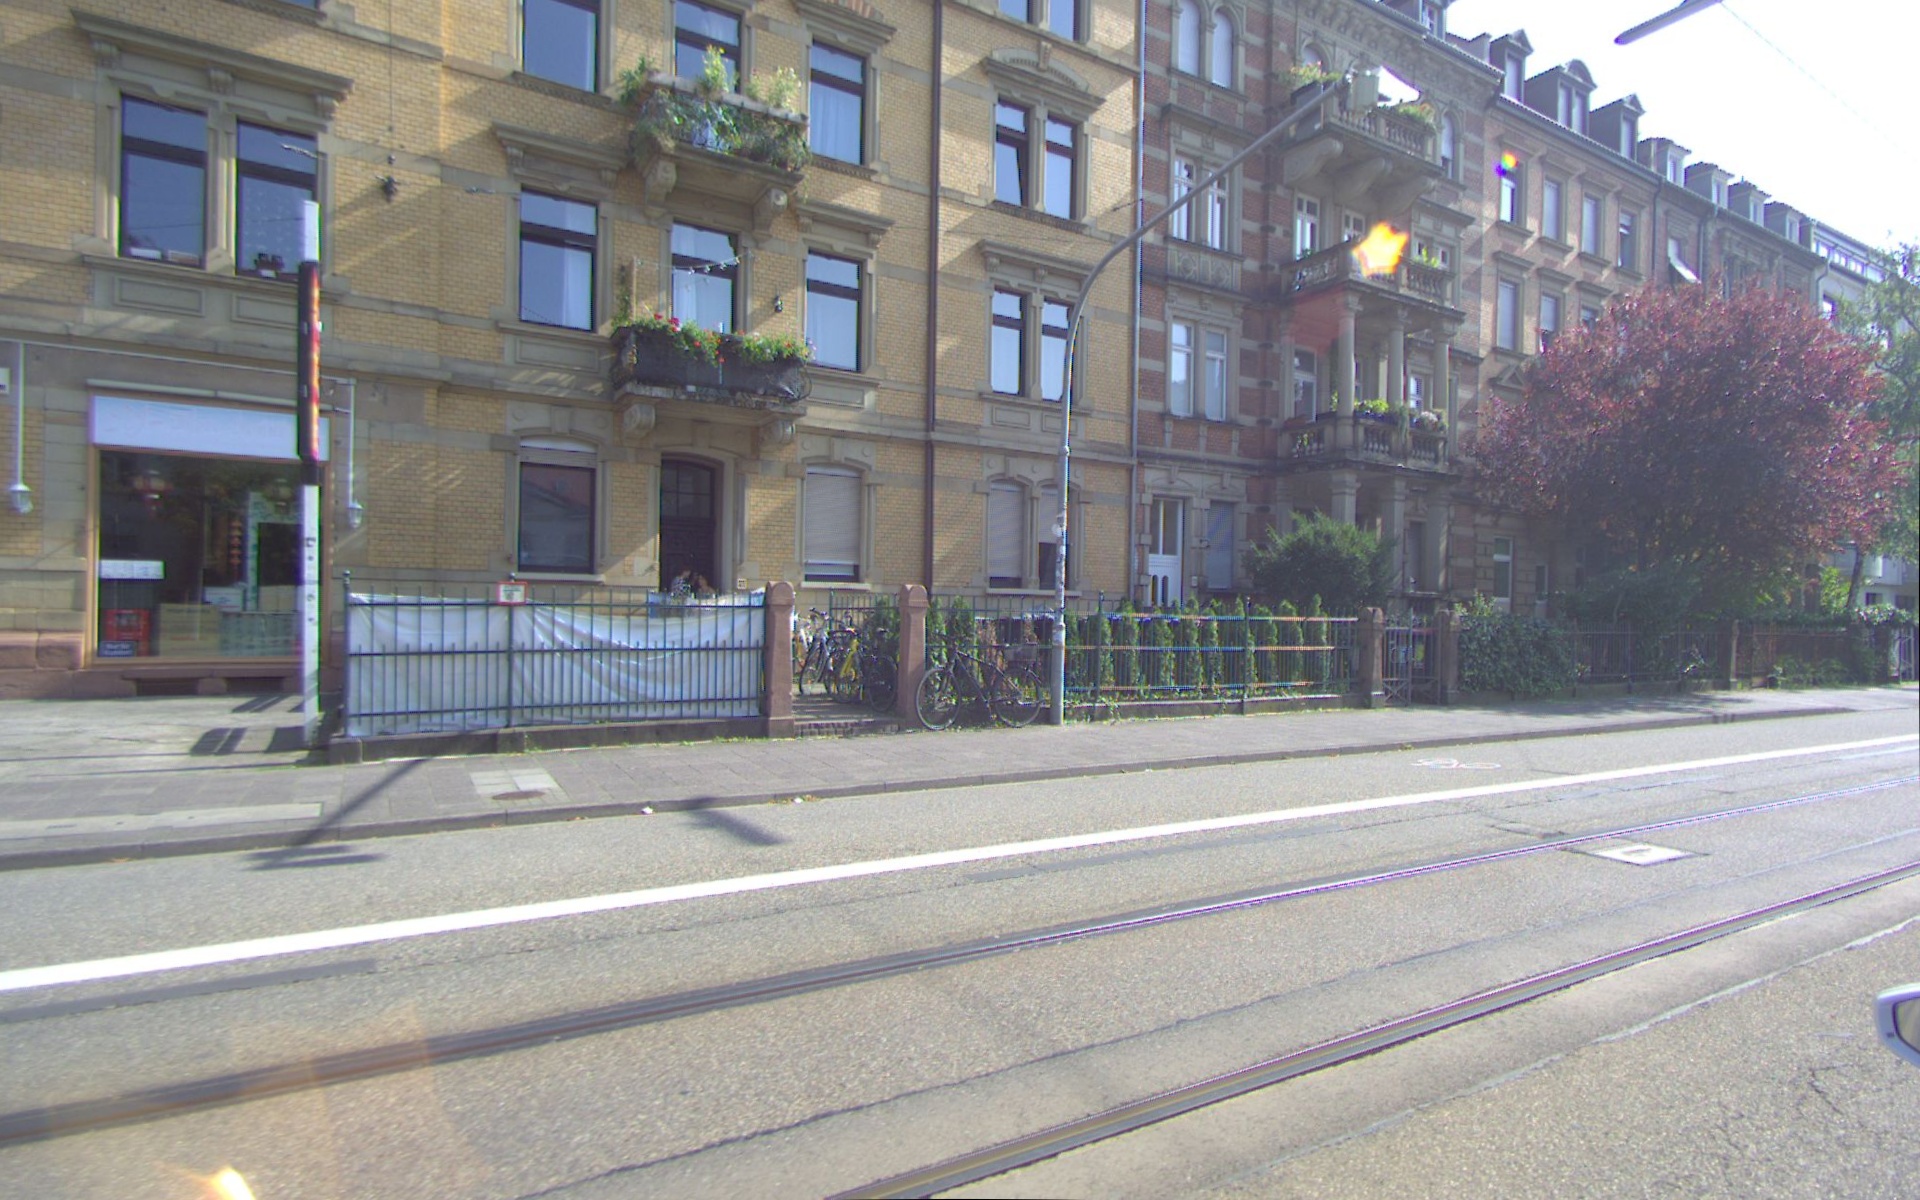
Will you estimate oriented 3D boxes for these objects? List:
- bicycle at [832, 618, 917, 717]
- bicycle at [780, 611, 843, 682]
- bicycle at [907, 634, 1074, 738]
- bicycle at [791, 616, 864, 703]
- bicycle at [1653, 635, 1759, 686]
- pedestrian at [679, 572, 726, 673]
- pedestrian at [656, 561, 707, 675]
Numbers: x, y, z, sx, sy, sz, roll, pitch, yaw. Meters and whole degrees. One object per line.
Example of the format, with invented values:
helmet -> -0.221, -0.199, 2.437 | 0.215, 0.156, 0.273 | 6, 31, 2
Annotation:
bicycle -> -1.053, 0.787, 12.165 | 0.413, 1.074, 1.349 | 1, 1, -33
bicycle -> -2.416, 0.725, 16.196 | 0.413, 1.074, 1.474 | 1, -1, -33
bicycle -> 0.377, 0.975, 11.722 | 1.980, 1.122, 0.506 | 2, 0, -31
bicycle -> -1.778, 0.767, 13.336 | 0.413, 1.074, 1.349 | 1, -1, -33
bicycle -> 18.236, 1.452, 24.602 | 0.582, 1.118, 2.003 | 1, 0, -33
pedestrian -> -4.421, 0.389, 17.231 | 0.576, 1.689, 0.545 | 1, -1, -42
pedestrian -> -4.661, 0.297, 16.828 | 0.541, 1.874, 0.580 | 1, 0, 20
